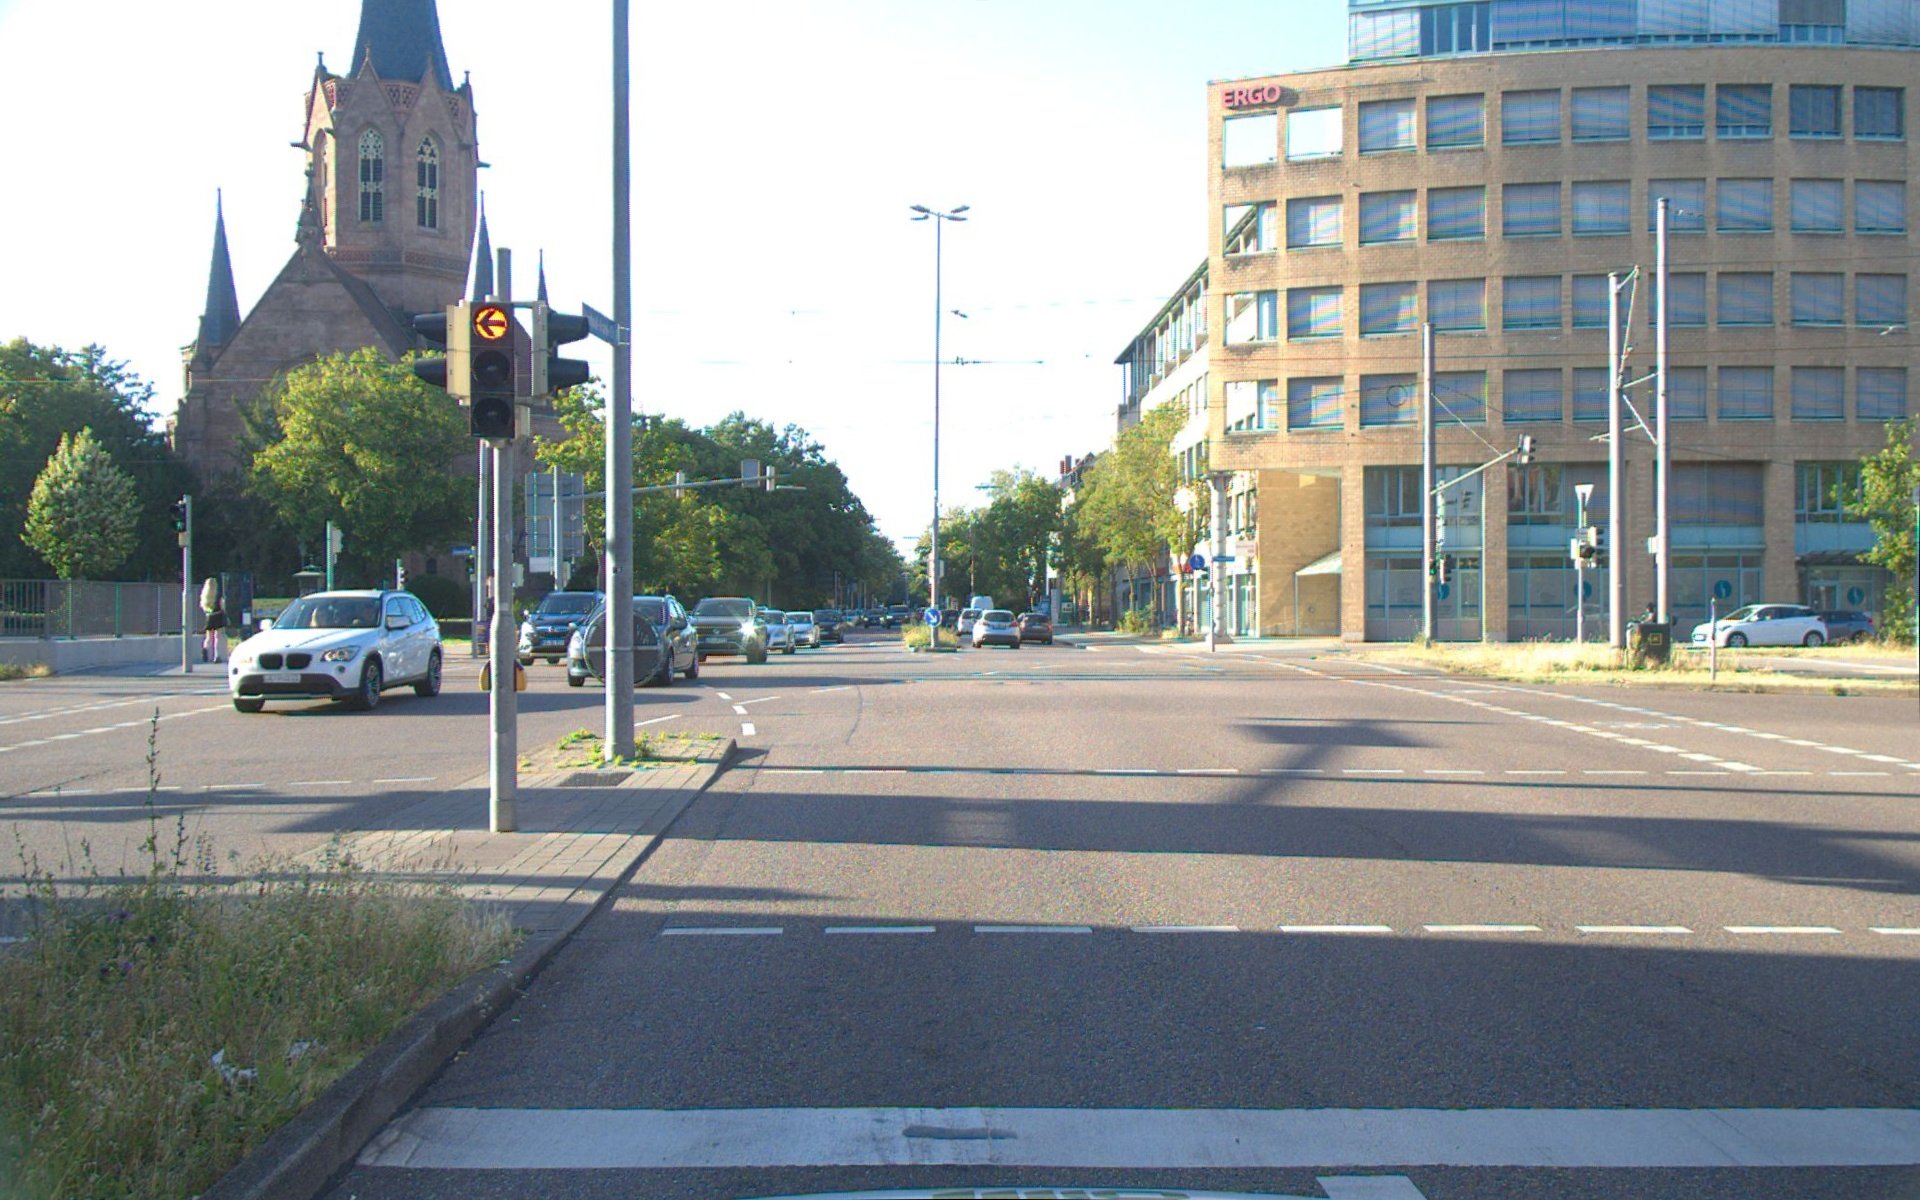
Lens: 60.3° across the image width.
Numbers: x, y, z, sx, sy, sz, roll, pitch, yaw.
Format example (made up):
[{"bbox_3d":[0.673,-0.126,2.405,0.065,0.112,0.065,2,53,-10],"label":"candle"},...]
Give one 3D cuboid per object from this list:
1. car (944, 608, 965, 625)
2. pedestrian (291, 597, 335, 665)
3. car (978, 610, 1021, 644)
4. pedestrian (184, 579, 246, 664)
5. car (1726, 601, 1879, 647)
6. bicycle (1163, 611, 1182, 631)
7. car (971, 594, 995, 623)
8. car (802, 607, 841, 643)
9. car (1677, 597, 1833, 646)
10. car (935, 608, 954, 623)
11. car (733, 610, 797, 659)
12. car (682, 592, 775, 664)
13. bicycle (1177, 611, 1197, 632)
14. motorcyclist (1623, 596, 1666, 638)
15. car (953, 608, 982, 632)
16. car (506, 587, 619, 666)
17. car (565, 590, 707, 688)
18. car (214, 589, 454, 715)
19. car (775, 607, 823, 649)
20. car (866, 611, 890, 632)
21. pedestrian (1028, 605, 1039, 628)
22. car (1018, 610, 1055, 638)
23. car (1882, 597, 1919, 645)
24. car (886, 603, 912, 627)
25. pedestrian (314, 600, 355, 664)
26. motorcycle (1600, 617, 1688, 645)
[{"bbox_3d":[-0.438,1.280,130.011,1.562,1.289,3.266,0,0,-1],"label":"car"},{"bbox_3d":[-16.577,0.786,42.391,0.693,1.726,0.896,1,-1,3],"label":"pedestrian"},{"bbox_3d":[1.526,1.042,65.016,1.562,1.289,3.266,0,0,-1],"label":"car"},{"bbox_3d":[-15.656,0.443,34.782,0.946,1.770,0.811,0,-1,-3],"label":"pedestrian"},{"bbox_3d":[29.648,0.826,58.300,4.390,1.564,1.986,0,-1,-1],"label":"car"},{"bbox_3d":[11.031,1.086,85.786,0.633,1.012,2.080,0,0,-2],"label":"bicycle"},{"bbox_3d":[2.048,0.764,145.679,1.953,2.483,3.999,1,0,-1],"label":"car"},{"bbox_3d":[-6.550,1.160,78.479,1.546,1.571,3.476,-2,0,-1],"label":"car"},{"bbox_3d":[25.488,0.696,53.096,4.080,1.518,1.994,0,-1,-3],"label":"car"},{"bbox_3d":[-1.339,1.319,142.514,1.562,1.289,3.266,0,0,-1],"label":"car"},{"bbox_3d":[-6.375,1.096,54.441,1.674,1.450,4.101,-2,0,-1],"label":"car"},{"bbox_3d":[-5.471,0.626,39.516,1.641,1.571,4.102,-2,0,-1],"label":"car"},{"bbox_3d":[11.146,1.071,81.399,0.633,1.012,2.080,0,0,-2],"label":"bicycle"},{"bbox_3d":[24.034,0.583,58.093,1.044,1.460,1.031,0,-1,-2],"label":"motorcyclist"},{"bbox_3d":[0.419,1.140,92.991,1.562,1.289,3.266,0,0,-1],"label":"car"},{"bbox_3d":[-8.987,0.551,37.685,1.685,1.657,4.101,-2,0,-2],"label":"car"},{"bbox_3d":[-5.433,0.606,28.195,1.559,1.497,3.986,-1,0,1],"label":"car"},{"bbox_3d":[-8.457,0.634,22.760,1.717,1.514,4.248,-1,0,-1],"label":"car"},{"bbox_3d":[-6.514,1.120,67.205,1.641,1.571,3.805,-2,0,-1],"label":"car"},{"bbox_3d":[-6.986,1.852,141.632,1.953,1.754,4.591,-1,-1,-2],"label":"car"},{"bbox_3d":[5.846,1.335,131.597,0.830,1.835,0.775,0,0,-1],"label":"pedestrian"},{"bbox_3d":[3.682,1.142,79.930,1.562,1.289,3.266,0,0,-1],"label":"car"},{"bbox_3d":[32.247,0.667,53.373,3.970,1.518,1.819,0,-1,-2],"label":"car"},{"bbox_3d":[-4.725,1.195,128.654,1.953,1.754,5.029,-1,-1,-2],"label":"car"},{"bbox_3d":[-17.089,0.871,45.196,0.826,1.726,1.014,1,0,-10],"label":"pedestrian"},{"bbox_3d":[24.022,1.080,58.086,2.663,0.981,1.031,0,-1,-2],"label":"motorcycle"}]
